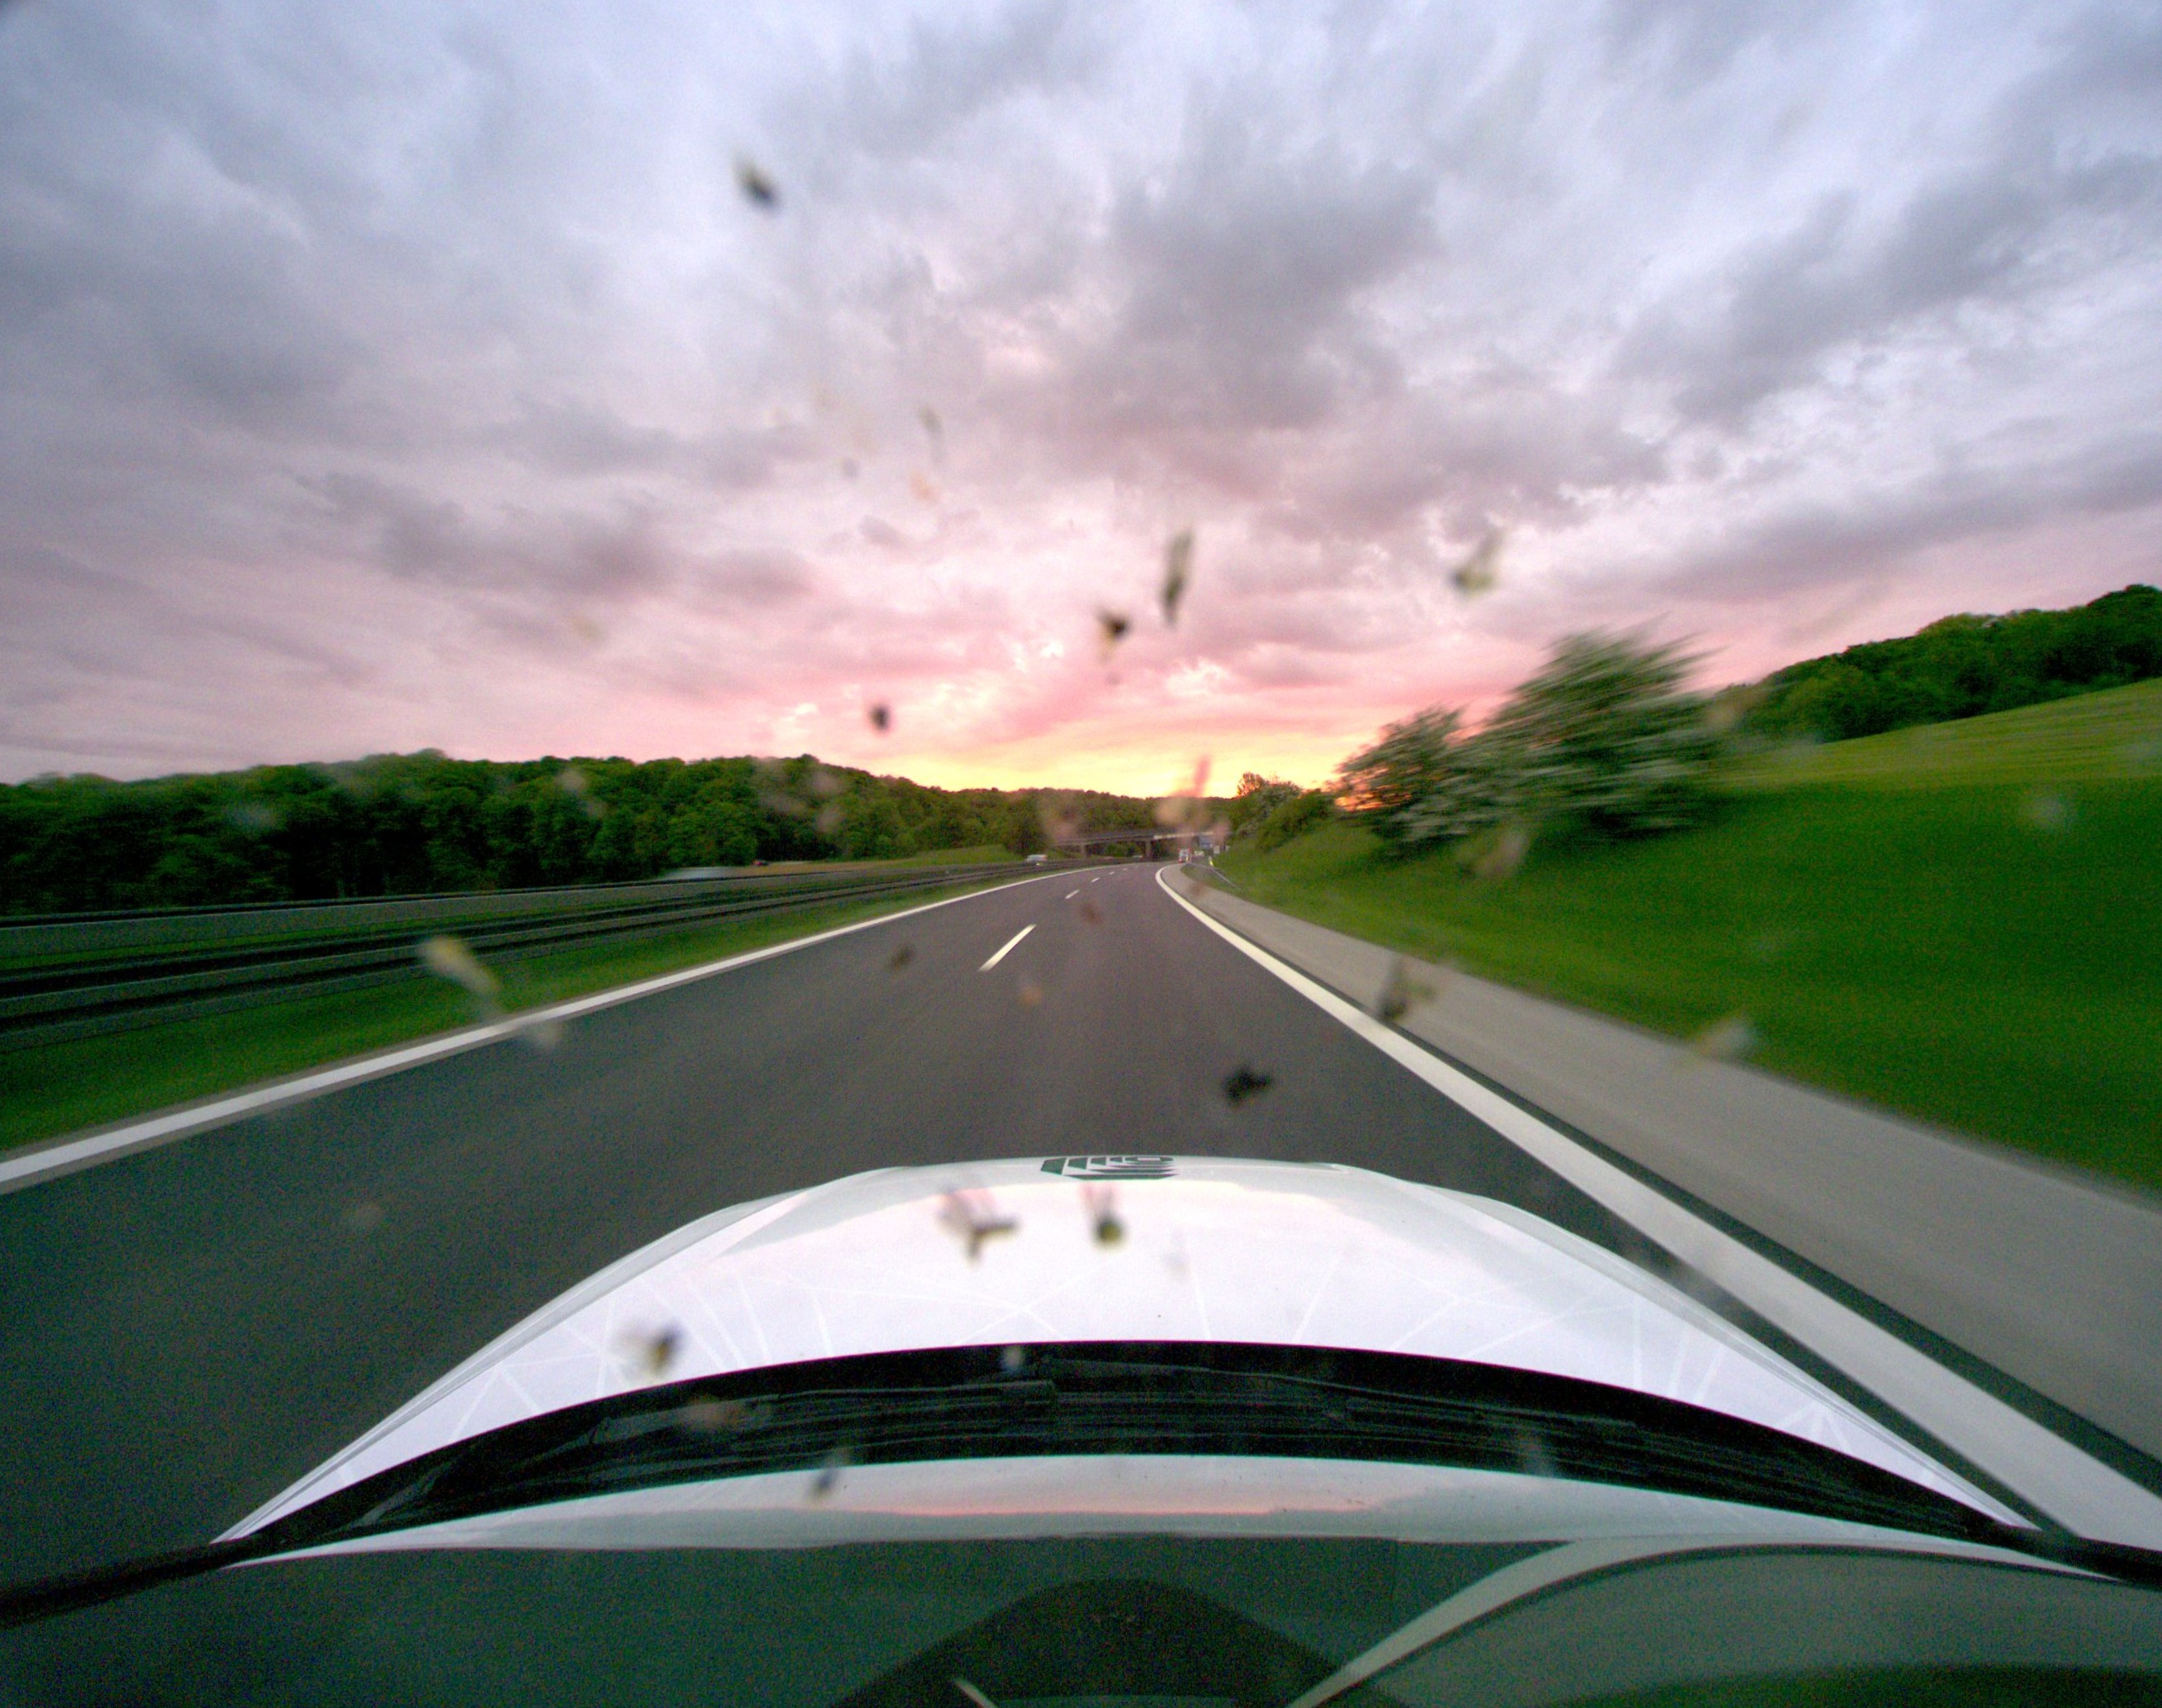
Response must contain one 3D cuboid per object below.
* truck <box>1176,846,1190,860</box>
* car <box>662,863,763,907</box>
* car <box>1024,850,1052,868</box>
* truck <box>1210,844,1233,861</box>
[{"bbox_3d":[20.417,-0.221,162.860,2.261,2.665,5.253,-3,1,11],"label":"truck"},{"bbox_3d":[-13.638,1.090,30.388,1.631,1.288,3.955,-5,1,4],"label":"car"},{"bbox_3d":[-5.576,0.625,106.183,2.268,2.013,5.273,-8,0,10],"label":"car"},{"bbox_3d":[39.737,-0.472,229.905,3.925,4.287,14.392,-2,0,19],"label":"truck"}]
